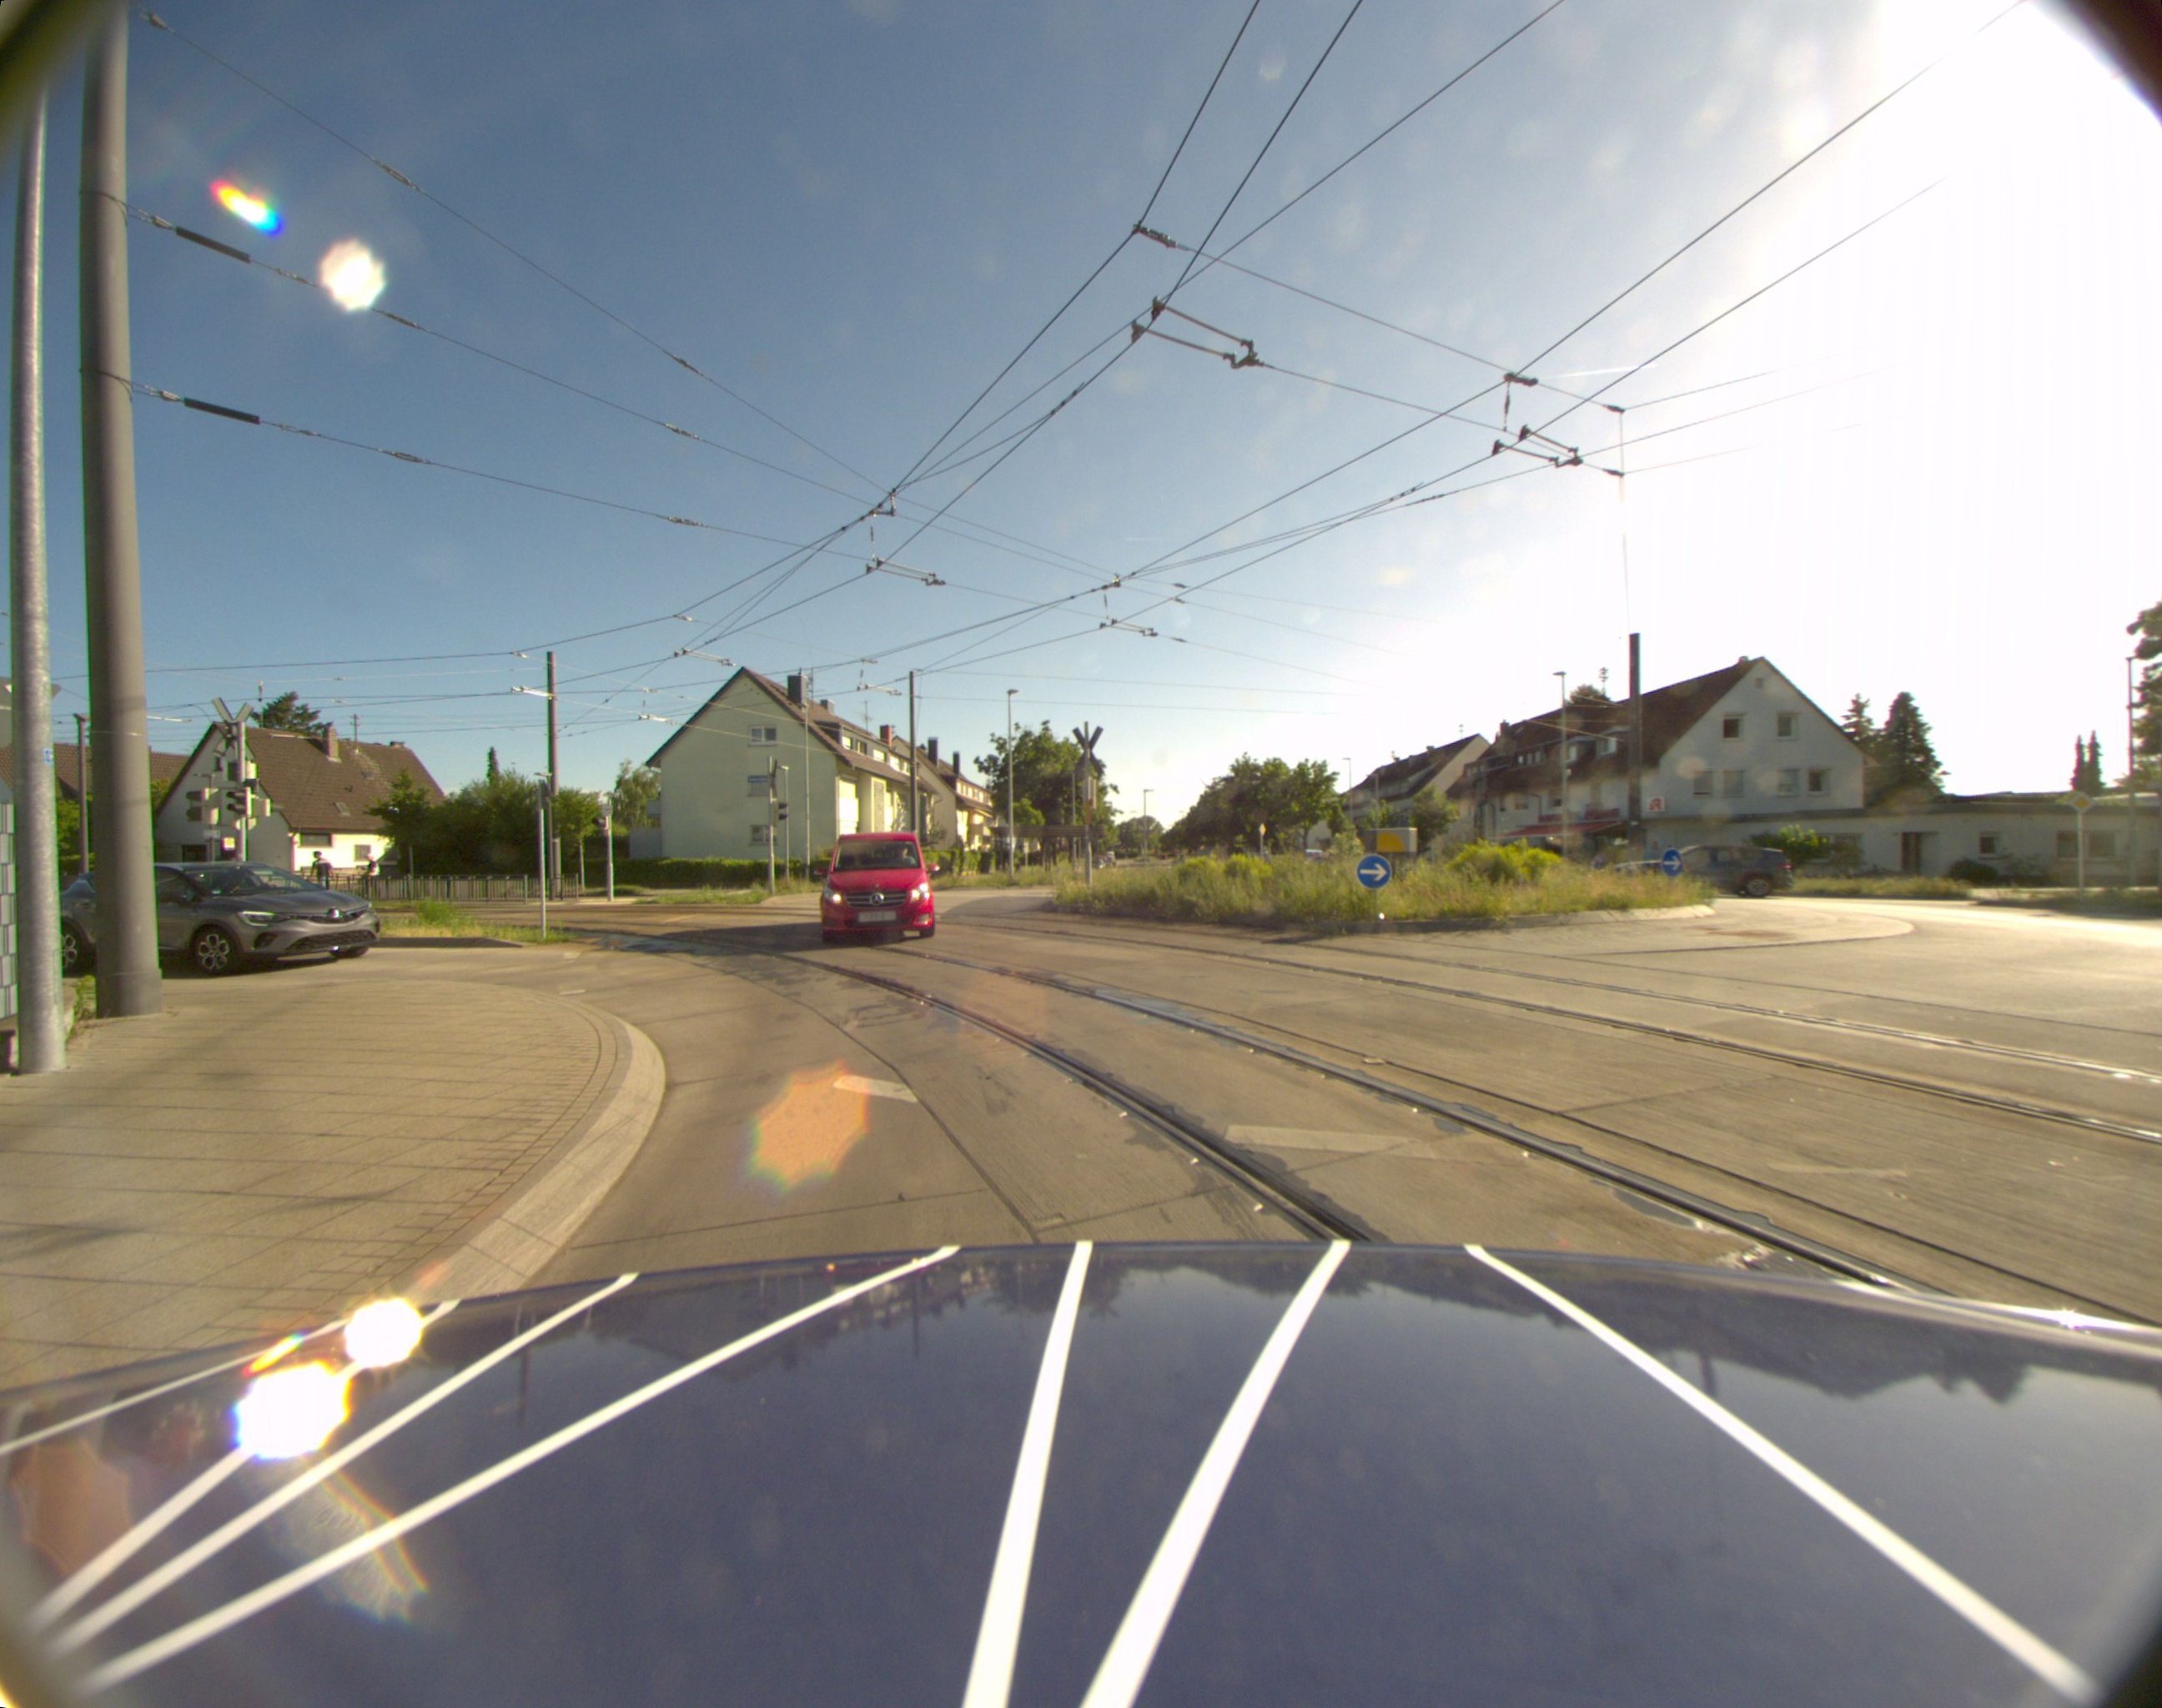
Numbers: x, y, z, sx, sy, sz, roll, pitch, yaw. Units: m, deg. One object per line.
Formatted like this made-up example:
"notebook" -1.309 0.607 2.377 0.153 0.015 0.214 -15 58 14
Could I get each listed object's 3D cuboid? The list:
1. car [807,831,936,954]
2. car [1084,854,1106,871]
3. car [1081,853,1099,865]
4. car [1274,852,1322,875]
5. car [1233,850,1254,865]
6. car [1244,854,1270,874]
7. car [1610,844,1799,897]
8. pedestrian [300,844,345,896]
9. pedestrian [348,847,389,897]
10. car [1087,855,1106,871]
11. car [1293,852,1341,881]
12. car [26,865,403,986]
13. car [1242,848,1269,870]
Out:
"car" -4.103 0.603 14.997 2.001 1.970 5.230 -1 0 -15
"car" 1.366 0.778 72.593 1.825 1.385 3.790 0 2 4
"car" 1.059 0.588 87.943 1.825 1.384 3.870 0 0 4
"car" 15.792 0.662 55.216 3.069 1.611 1.413 1 3 33
"car" 17.864 0.401 83.494 1.544 1.582 4.077 -1 0 2
"car" 16.601 0.915 71.813 1.922 1.607 4.285 0 2 7
"car" 19.944 0.472 24.604 4.428 1.572 1.839 0 2 28
"pedestrian" -26.319 0.538 26.378 0.826 1.761 0.688 0 3 -17
"pedestrian" -24.421 0.616 26.062 0.728 1.652 0.795 0 3 -17
"car" 1.634 0.915 78.697 1.825 1.385 3.868 0 2 4
"car" 15.554 0.794 50.263 1.998 1.689 4.370 -1 2 3
"car" -13.003 1.021 11.542 3.994 1.570 1.832 -1 2 8
"car" 17.868 0.472 78.039 1.895 2.003 4.370 -1 2 2
